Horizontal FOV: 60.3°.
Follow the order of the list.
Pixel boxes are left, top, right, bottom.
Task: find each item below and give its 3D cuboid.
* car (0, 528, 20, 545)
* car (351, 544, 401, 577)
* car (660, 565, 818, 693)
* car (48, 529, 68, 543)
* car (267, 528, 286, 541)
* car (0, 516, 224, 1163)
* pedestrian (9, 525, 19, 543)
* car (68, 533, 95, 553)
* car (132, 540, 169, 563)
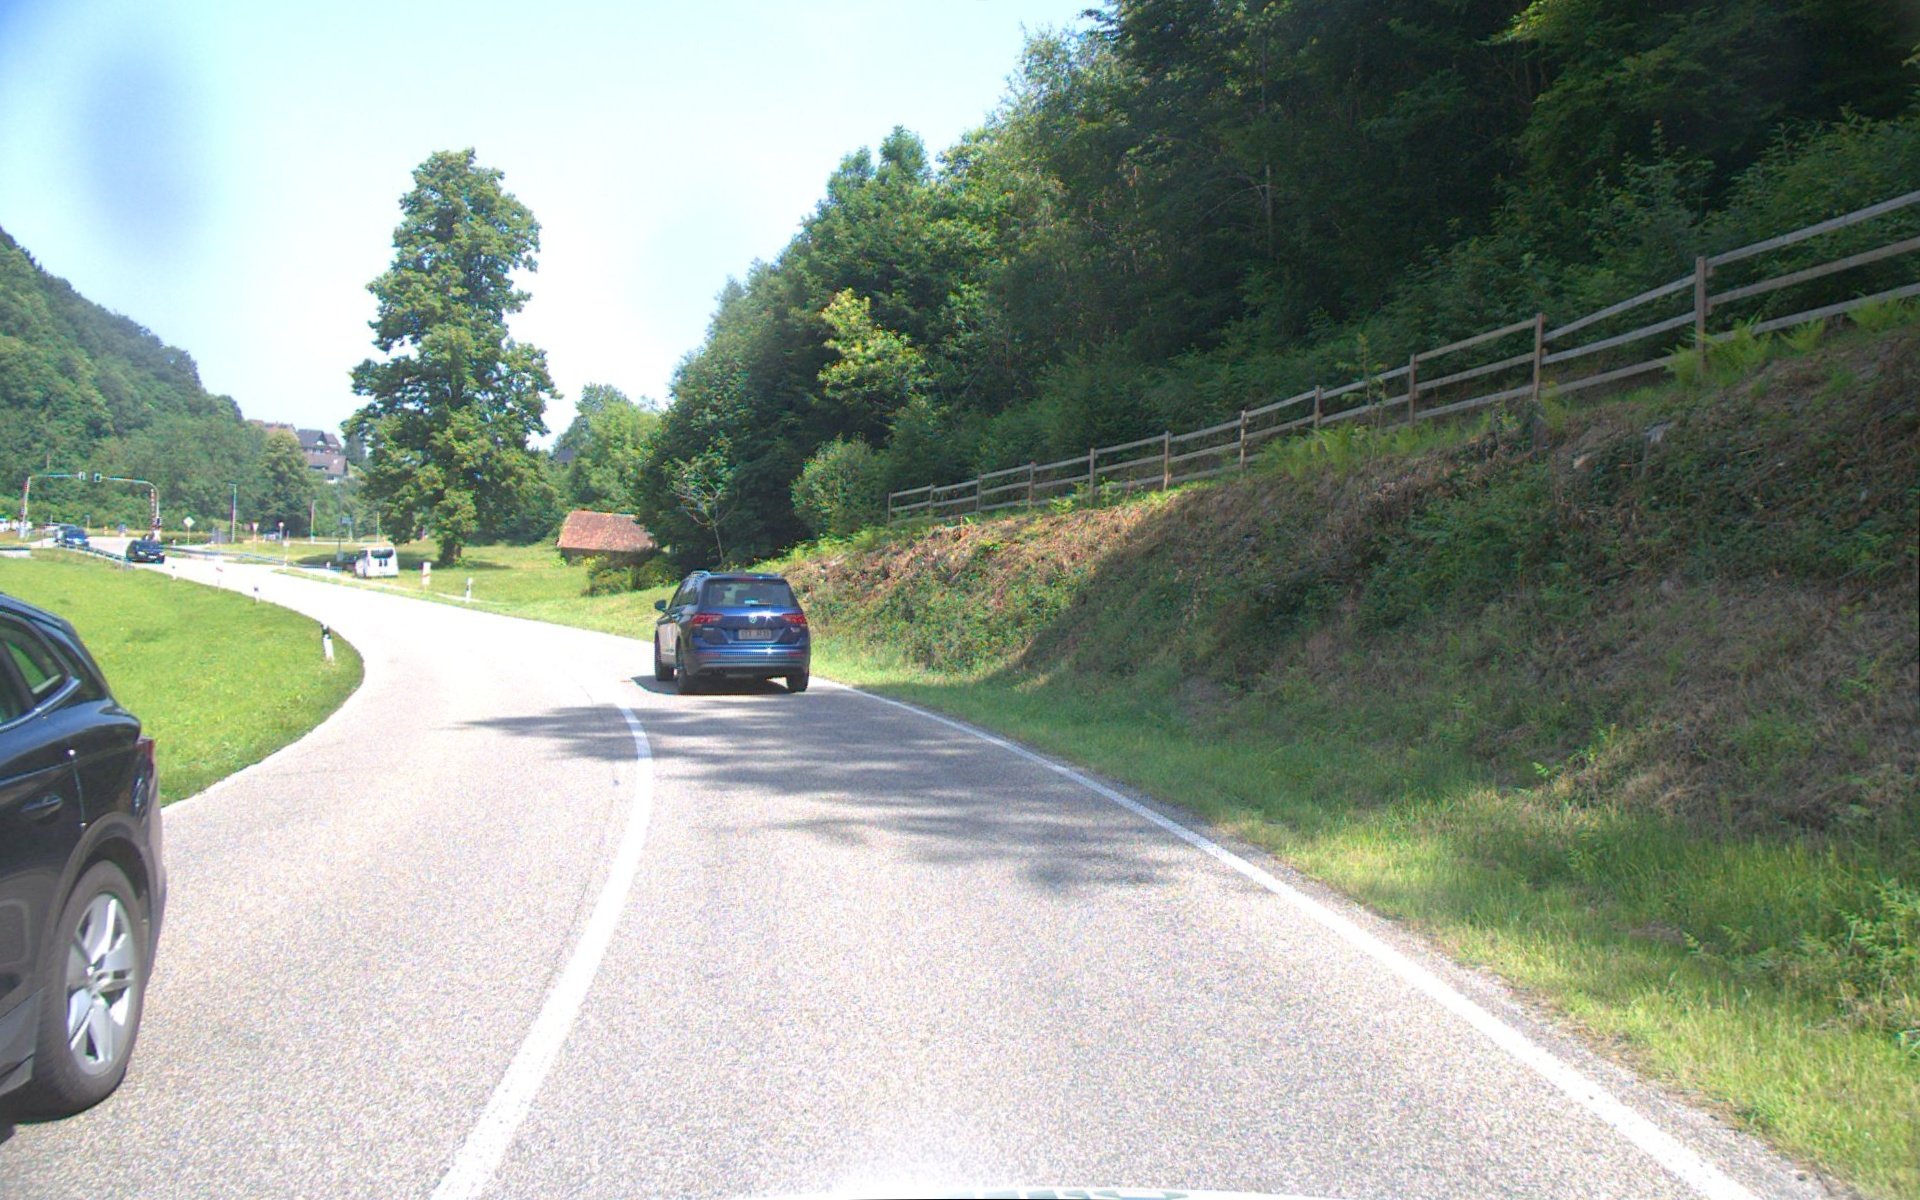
[{"bbox_3d":[-105.550,-7.050,182.867,1.841,1.813,4.750,2,1,-17],"label":"car"},{"bbox_3d":[-36.549,-2.498,103.430,1.979,1.880,4.819,-4,4,-30],"label":"car"},{"bbox_3d":[-3.273,0.352,23.813,1.821,1.678,4.125,1,1,-14],"label":"car"},{"bbox_3d":[-100.108,-7.099,183.552,1.807,1.526,4.235,1,2,-30],"label":"car"},{"bbox_3d":[-98.069,-9.426,237.213,1.772,1.646,3.987,2,-1,-12],"label":"car"},{"bbox_3d":[-3.247,0.611,3.453,1.840,1.615,4.588,-1,0,-7],"label":"car"},{"bbox_3d":[-100.892,-7.006,176.419,0.775,1.874,0.696,1,2,-15],"label":"pedestrian"},{"bbox_3d":[-74.857,-4.876,140.899,1.846,1.651,4.465,0,2,-30],"label":"car"},{"bbox_3d":[-56.703,-3.406,115.841,1.898,1.496,4.462,1,2,-32],"label":"car"}]
